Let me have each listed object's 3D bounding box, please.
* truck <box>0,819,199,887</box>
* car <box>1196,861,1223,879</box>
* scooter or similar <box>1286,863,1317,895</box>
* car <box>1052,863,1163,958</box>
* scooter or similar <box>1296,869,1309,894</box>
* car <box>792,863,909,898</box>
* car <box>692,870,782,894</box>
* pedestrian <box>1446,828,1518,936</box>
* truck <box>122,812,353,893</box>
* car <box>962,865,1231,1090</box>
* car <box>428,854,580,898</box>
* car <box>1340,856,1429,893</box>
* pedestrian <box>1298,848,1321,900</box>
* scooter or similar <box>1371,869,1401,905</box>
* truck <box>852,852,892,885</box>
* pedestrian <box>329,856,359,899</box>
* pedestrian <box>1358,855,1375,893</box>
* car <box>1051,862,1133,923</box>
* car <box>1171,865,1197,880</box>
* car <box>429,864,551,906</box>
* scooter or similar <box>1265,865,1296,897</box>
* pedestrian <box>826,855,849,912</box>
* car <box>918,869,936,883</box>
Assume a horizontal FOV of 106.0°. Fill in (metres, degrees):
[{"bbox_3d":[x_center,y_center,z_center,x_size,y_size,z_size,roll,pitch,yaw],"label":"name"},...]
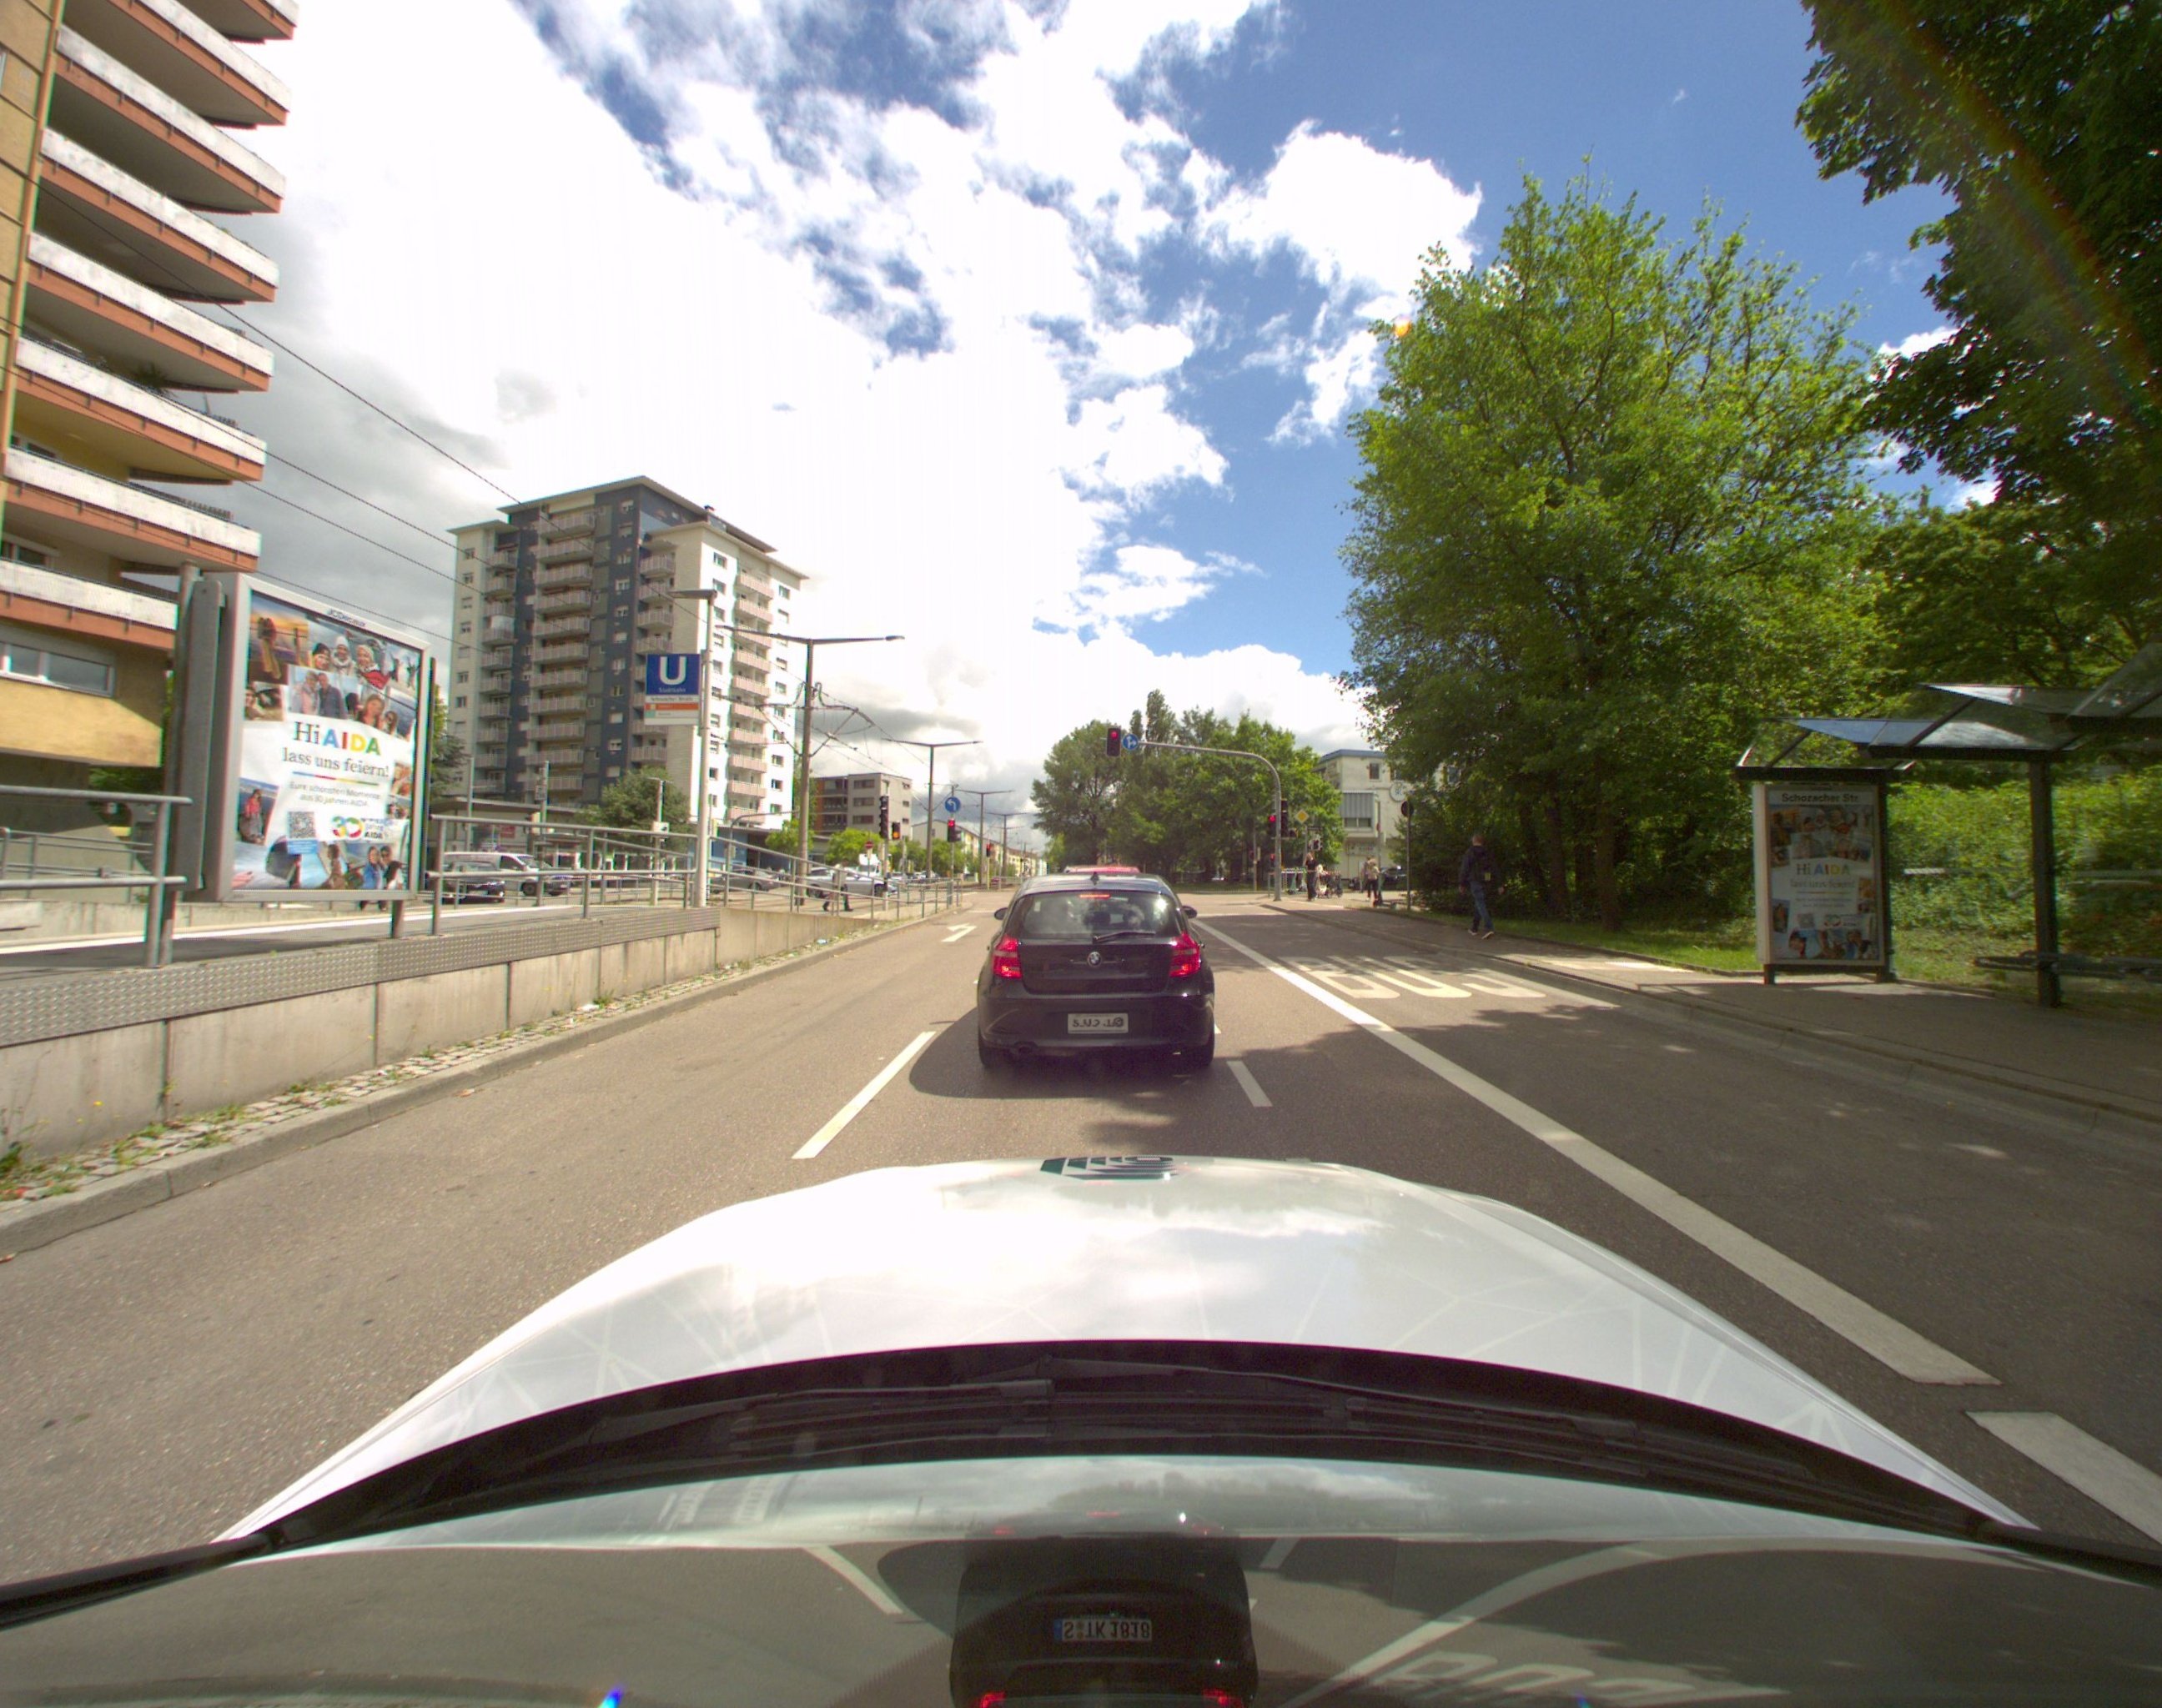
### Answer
[{"bbox_3d":[-34.579,-0.022,28.762,4.262,2.290,2.352,0,-1,2],"label":"truck"},{"bbox_3d":[13.375,1.665,84.896,1.724,1.871,3.990,0,-1,-7],"label":"car"},{"bbox_3d":[8.896,1.002,32.930,1.144,1.272,0.556,0,-1,7],"label":"scooter or similar"},{"bbox_3d":[0.440,0.855,13.746,1.632,1.400,3.421,0,-1,2],"label":"car"},{"bbox_3d":[9.477,1.163,34.805,0.543,1.064,1.267,0,-1,16],"label":"scooter or similar"},{"bbox_3d":[-10.363,1.169,36.903,4.784,1.522,1.996,0,-1,-6],"label":"car"},{"bbox_3d":[-19.636,1.585,46.647,4.437,1.329,1.676,0,-1,-6],"label":"car"},{"bbox_3d":[7.217,0.486,14.704,0.792,1.876,1.014,0,-1,1],"label":"pedestrian"},{"bbox_3d":[-36.686,-0.051,35.617,7.246,3.348,2.607,0,-1,-1],"label":"truck"},{"bbox_3d":[0.149,0.799,6.846,1.694,1.400,3.421,0,-1,2],"label":"car"},{"bbox_3d":[-25.218,0.948,35.749,5.156,1.893,1.999,0,-1,-2],"label":"car"},{"bbox_3d":[17.961,1.182,48.279,4.530,2.014,1.995,-2,-1,-7],"label":"car"},{"bbox_3d":[8.423,0.721,29.979,0.638,1.876,0.514,0,-1,-22],"label":"pedestrian"},{"bbox_3d":[10.610,1.151,28.353,0.887,1.230,0.454,0,-1,-2],"label":"scooter or similar"},{"bbox_3d":[-20.575,1.389,80.537,2.275,3.118,7.312,0,-1,-2],"label":"truck"},{"bbox_3d":[-24.507,0.777,27.081,0.494,1.440,0.551,-1,-1,12],"label":"pedestrian"},{"bbox_3d":[13.258,0.925,37.759,0.651,1.713,0.465,-1,-1,31],"label":"pedestrian"},{"bbox_3d":[0.329,0.918,21.223,1.893,1.422,4.540,0,-1,2],"label":"car"},{"bbox_3d":[11.426,2.081,90.568,1.862,1.662,3.987,0,-1,-9],"label":"car"},{"bbox_3d":[-21.491,1.076,29.819,1.573,1.405,3.866,-1,-1,2],"label":"car"},{"bbox_3d":[7.761,1.047,31.689,1.105,1.235,0.540,0,-1,4],"label":"scooter or similar"},{"bbox_3d":[-7.550,0.905,25.276,0.689,1.734,0.684,0,-1,-16],"label":"pedestrian"},{"bbox_3d":[-20.274,2.883,107.340,1.586,1.756,3.775,0,-1,1],"label":"car"}]
